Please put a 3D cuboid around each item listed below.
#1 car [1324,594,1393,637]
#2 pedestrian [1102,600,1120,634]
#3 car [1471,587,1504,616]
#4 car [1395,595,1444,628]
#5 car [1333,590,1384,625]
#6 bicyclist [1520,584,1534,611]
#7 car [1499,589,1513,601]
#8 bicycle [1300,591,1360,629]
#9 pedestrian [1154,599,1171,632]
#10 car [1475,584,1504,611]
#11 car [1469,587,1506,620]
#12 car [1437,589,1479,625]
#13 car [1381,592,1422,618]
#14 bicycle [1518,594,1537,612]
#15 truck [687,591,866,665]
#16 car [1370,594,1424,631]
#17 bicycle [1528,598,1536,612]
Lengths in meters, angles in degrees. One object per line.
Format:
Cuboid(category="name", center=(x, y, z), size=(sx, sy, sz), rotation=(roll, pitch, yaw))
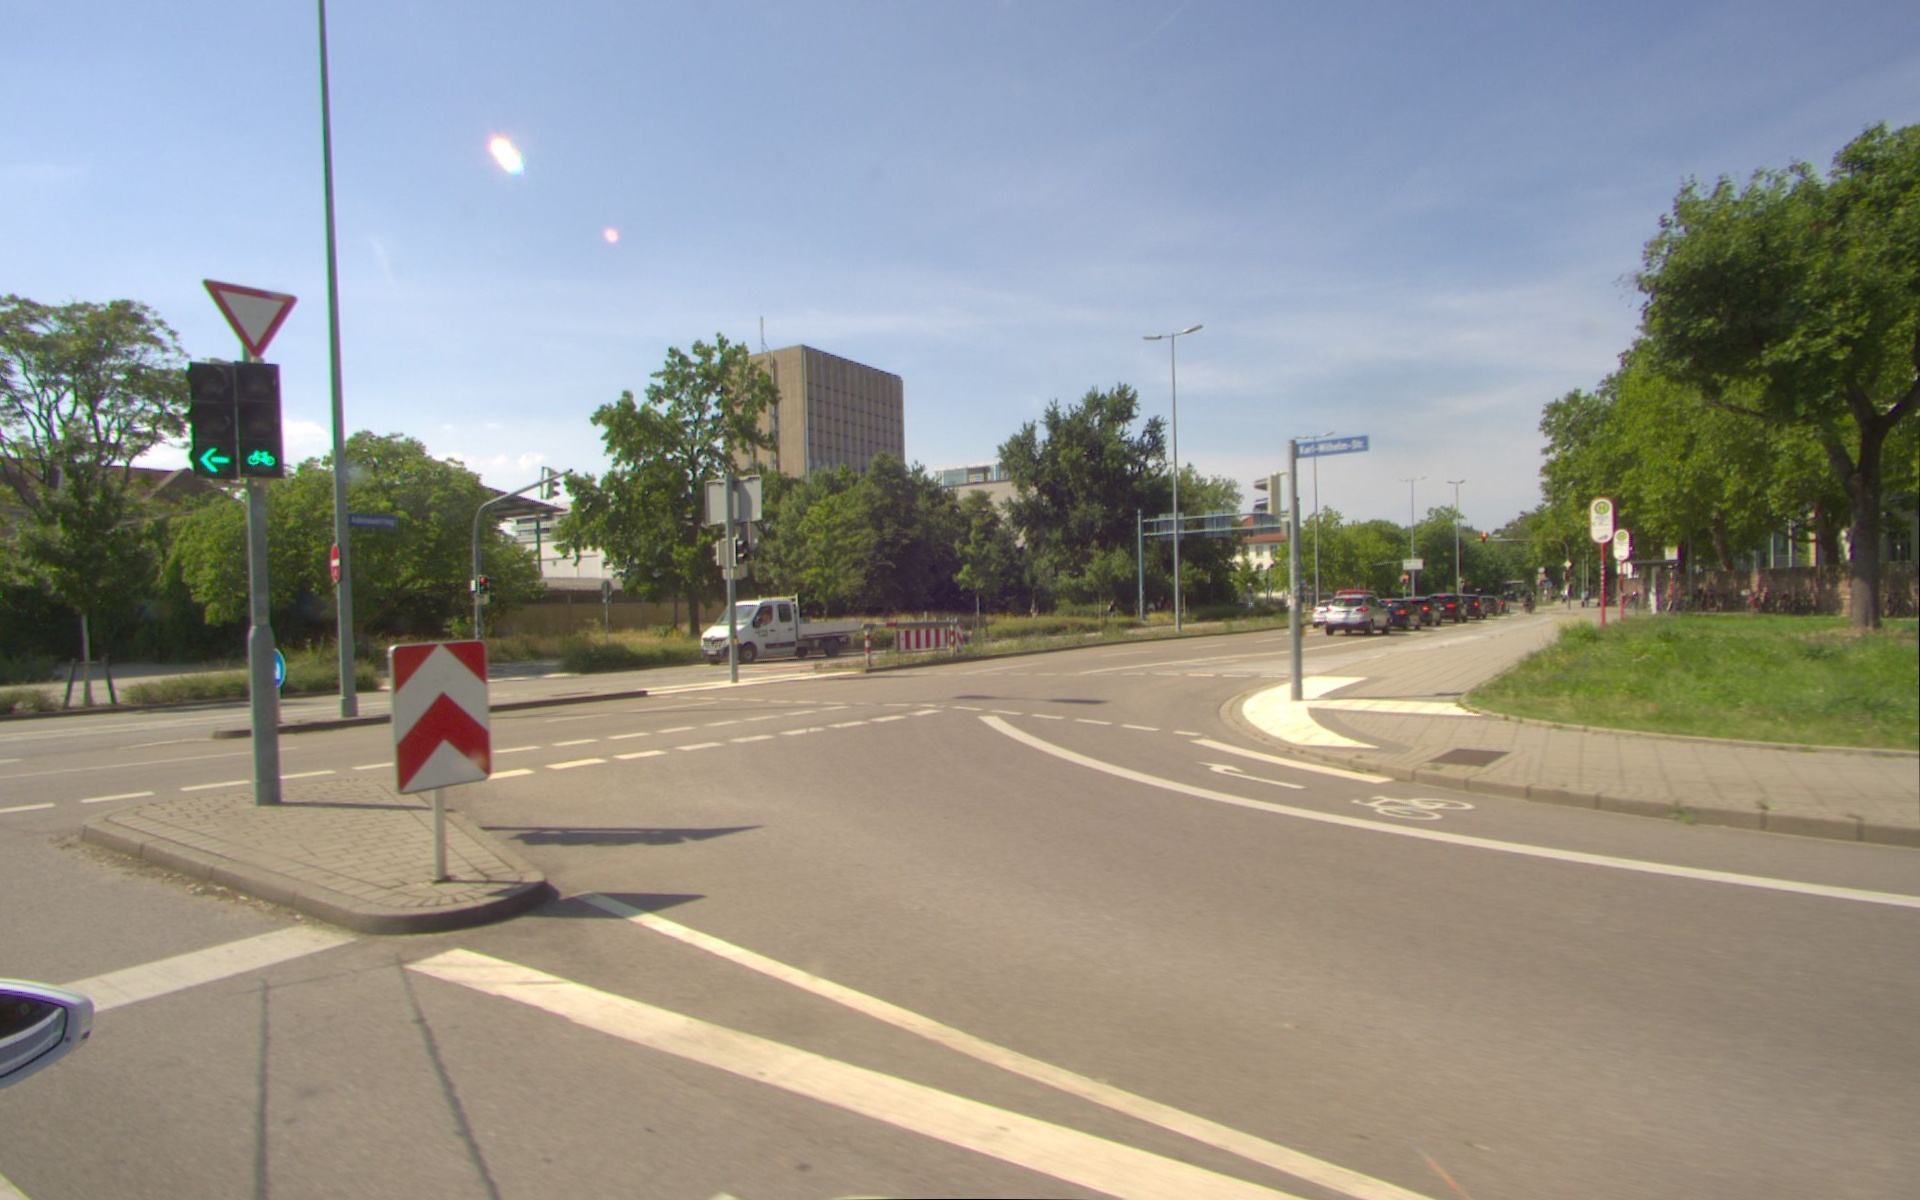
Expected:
Cuboid(category="car", center=(16.725, 0.627, 41.955), size=(1.689, 1.640, 4.189), rotation=(-1, 1, 36))
Cuboid(category="pedestrian", center=(11.260, 1.285, 74.683), size=(0.941, 2.566, 1.118), rotation=(-1, -2, 32))
Cuboid(category="car", center=(38.657, 0.119, 73.403), size=(1.970, 2.040, 3.980), rotation=(-1, 1, 30))
Cuboid(category="car", center=(24.620, 0.595, 53.594), size=(1.564, 1.612, 3.972), rotation=(-1, 1, 36))
Cuboid(category="car", center=(22.206, 0.409, 55.684), size=(1.950, 1.821, 4.587), rotation=(-1, 0, 31))
Cuboid(category="bicyclist", center=(43.982, -0.154, 77.680), size=(0.769, 2.039, 1.265), rotation=(-1, -2, 38))
Cuboid(category="car", center=(99.009, -0.914, 181.657), size=(1.968, 2.039, 3.988), rotation=(-1, -2, 26))
Cuboid(category="bicycle", center=(18.731, 0.483, 50.631), size=(1.973, 1.839, 3.976), rotation=(-2, 0, 34))
Cuboid(category="pedestrian", center=(16.010, 1.251, 79.095), size=(0.941, 2.566, 1.118), rotation=(-1, -2, 32))
Cuboid(category="car", center=(41.762, -0.182, 78.933), size=(1.970, 2.040, 3.981), rotation=(-1, 0, 29))
Cuboid(category="car", center=(34.753, 0.204, 65.959), size=(1.970, 2.040, 3.980), rotation=(-1, 1, 30))
Cuboid(category="car", center=(29.353, 0.398, 58.985), size=(1.970, 2.040, 3.980), rotation=(-1, 1, 30))
Cuboid(category="car", center=(28.457, 0.321, 64.506), size=(1.775, 1.530, 3.978), rotation=(-4, -1, 32))
Cuboid(category="bicycle", center=(43.969, 0.245, 77.614), size=(0.838, 1.233, 3.463), rotation=(-1, -2, 37))
Cuboid(category="truck", center=(-6.662, 0.966, 37.458), size=(2.380, 2.386, 7.008), rotation=(-3, -1, 32))
Cuboid(category="car", center=(20.664, 0.565, 47.284), size=(1.563, 1.612, 3.974), rotation=(-1, 1, 35))
Cuboid(category="bicycle", center=(45.806, 0.402, 80.179), size=(0.552, 1.066, 1.318), rotation=(-1, 1, 30))
